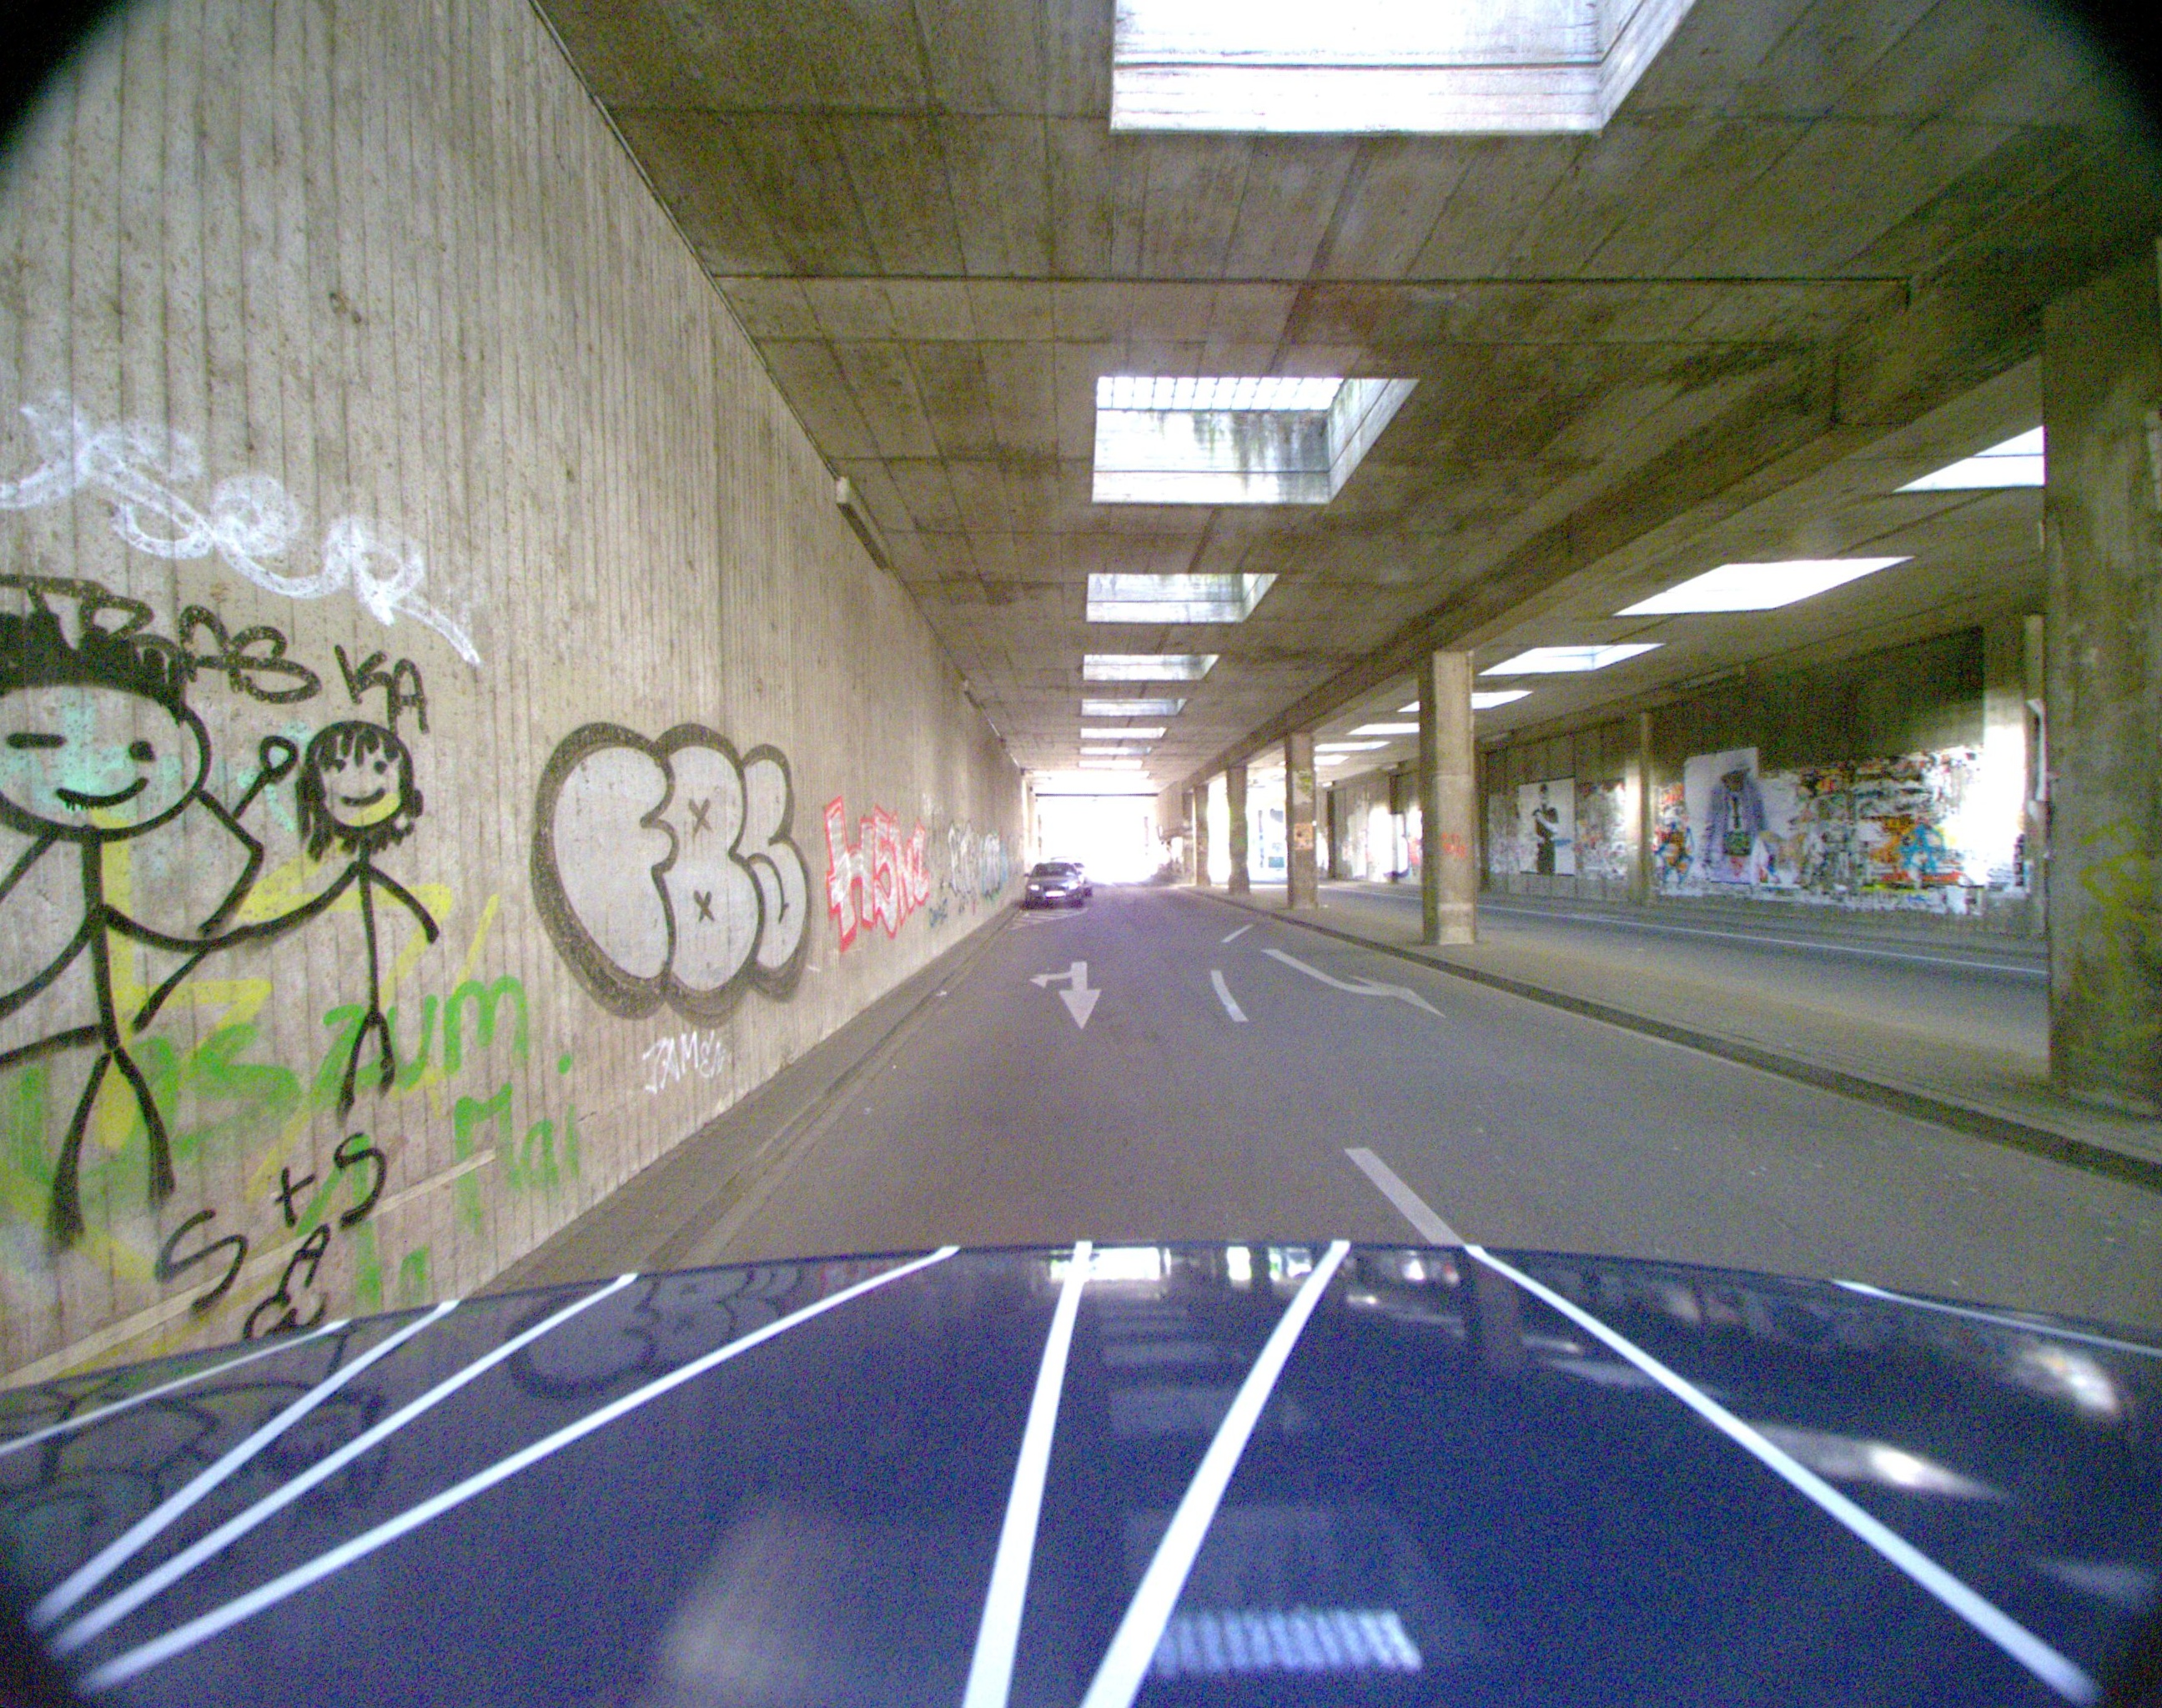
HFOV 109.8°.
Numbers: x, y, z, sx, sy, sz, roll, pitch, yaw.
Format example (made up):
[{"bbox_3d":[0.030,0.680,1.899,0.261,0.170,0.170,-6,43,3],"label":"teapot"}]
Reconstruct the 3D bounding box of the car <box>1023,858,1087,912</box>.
[{"bbox_3d":[-0.739,0.905,24.065,1.808,1.460,4.000,-2,0,1],"label":"car"}]

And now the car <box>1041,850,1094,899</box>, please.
[{"bbox_3d":[-0.471,0.751,29.810,1.861,1.709,4.000,-2,0,1],"label":"car"}]
